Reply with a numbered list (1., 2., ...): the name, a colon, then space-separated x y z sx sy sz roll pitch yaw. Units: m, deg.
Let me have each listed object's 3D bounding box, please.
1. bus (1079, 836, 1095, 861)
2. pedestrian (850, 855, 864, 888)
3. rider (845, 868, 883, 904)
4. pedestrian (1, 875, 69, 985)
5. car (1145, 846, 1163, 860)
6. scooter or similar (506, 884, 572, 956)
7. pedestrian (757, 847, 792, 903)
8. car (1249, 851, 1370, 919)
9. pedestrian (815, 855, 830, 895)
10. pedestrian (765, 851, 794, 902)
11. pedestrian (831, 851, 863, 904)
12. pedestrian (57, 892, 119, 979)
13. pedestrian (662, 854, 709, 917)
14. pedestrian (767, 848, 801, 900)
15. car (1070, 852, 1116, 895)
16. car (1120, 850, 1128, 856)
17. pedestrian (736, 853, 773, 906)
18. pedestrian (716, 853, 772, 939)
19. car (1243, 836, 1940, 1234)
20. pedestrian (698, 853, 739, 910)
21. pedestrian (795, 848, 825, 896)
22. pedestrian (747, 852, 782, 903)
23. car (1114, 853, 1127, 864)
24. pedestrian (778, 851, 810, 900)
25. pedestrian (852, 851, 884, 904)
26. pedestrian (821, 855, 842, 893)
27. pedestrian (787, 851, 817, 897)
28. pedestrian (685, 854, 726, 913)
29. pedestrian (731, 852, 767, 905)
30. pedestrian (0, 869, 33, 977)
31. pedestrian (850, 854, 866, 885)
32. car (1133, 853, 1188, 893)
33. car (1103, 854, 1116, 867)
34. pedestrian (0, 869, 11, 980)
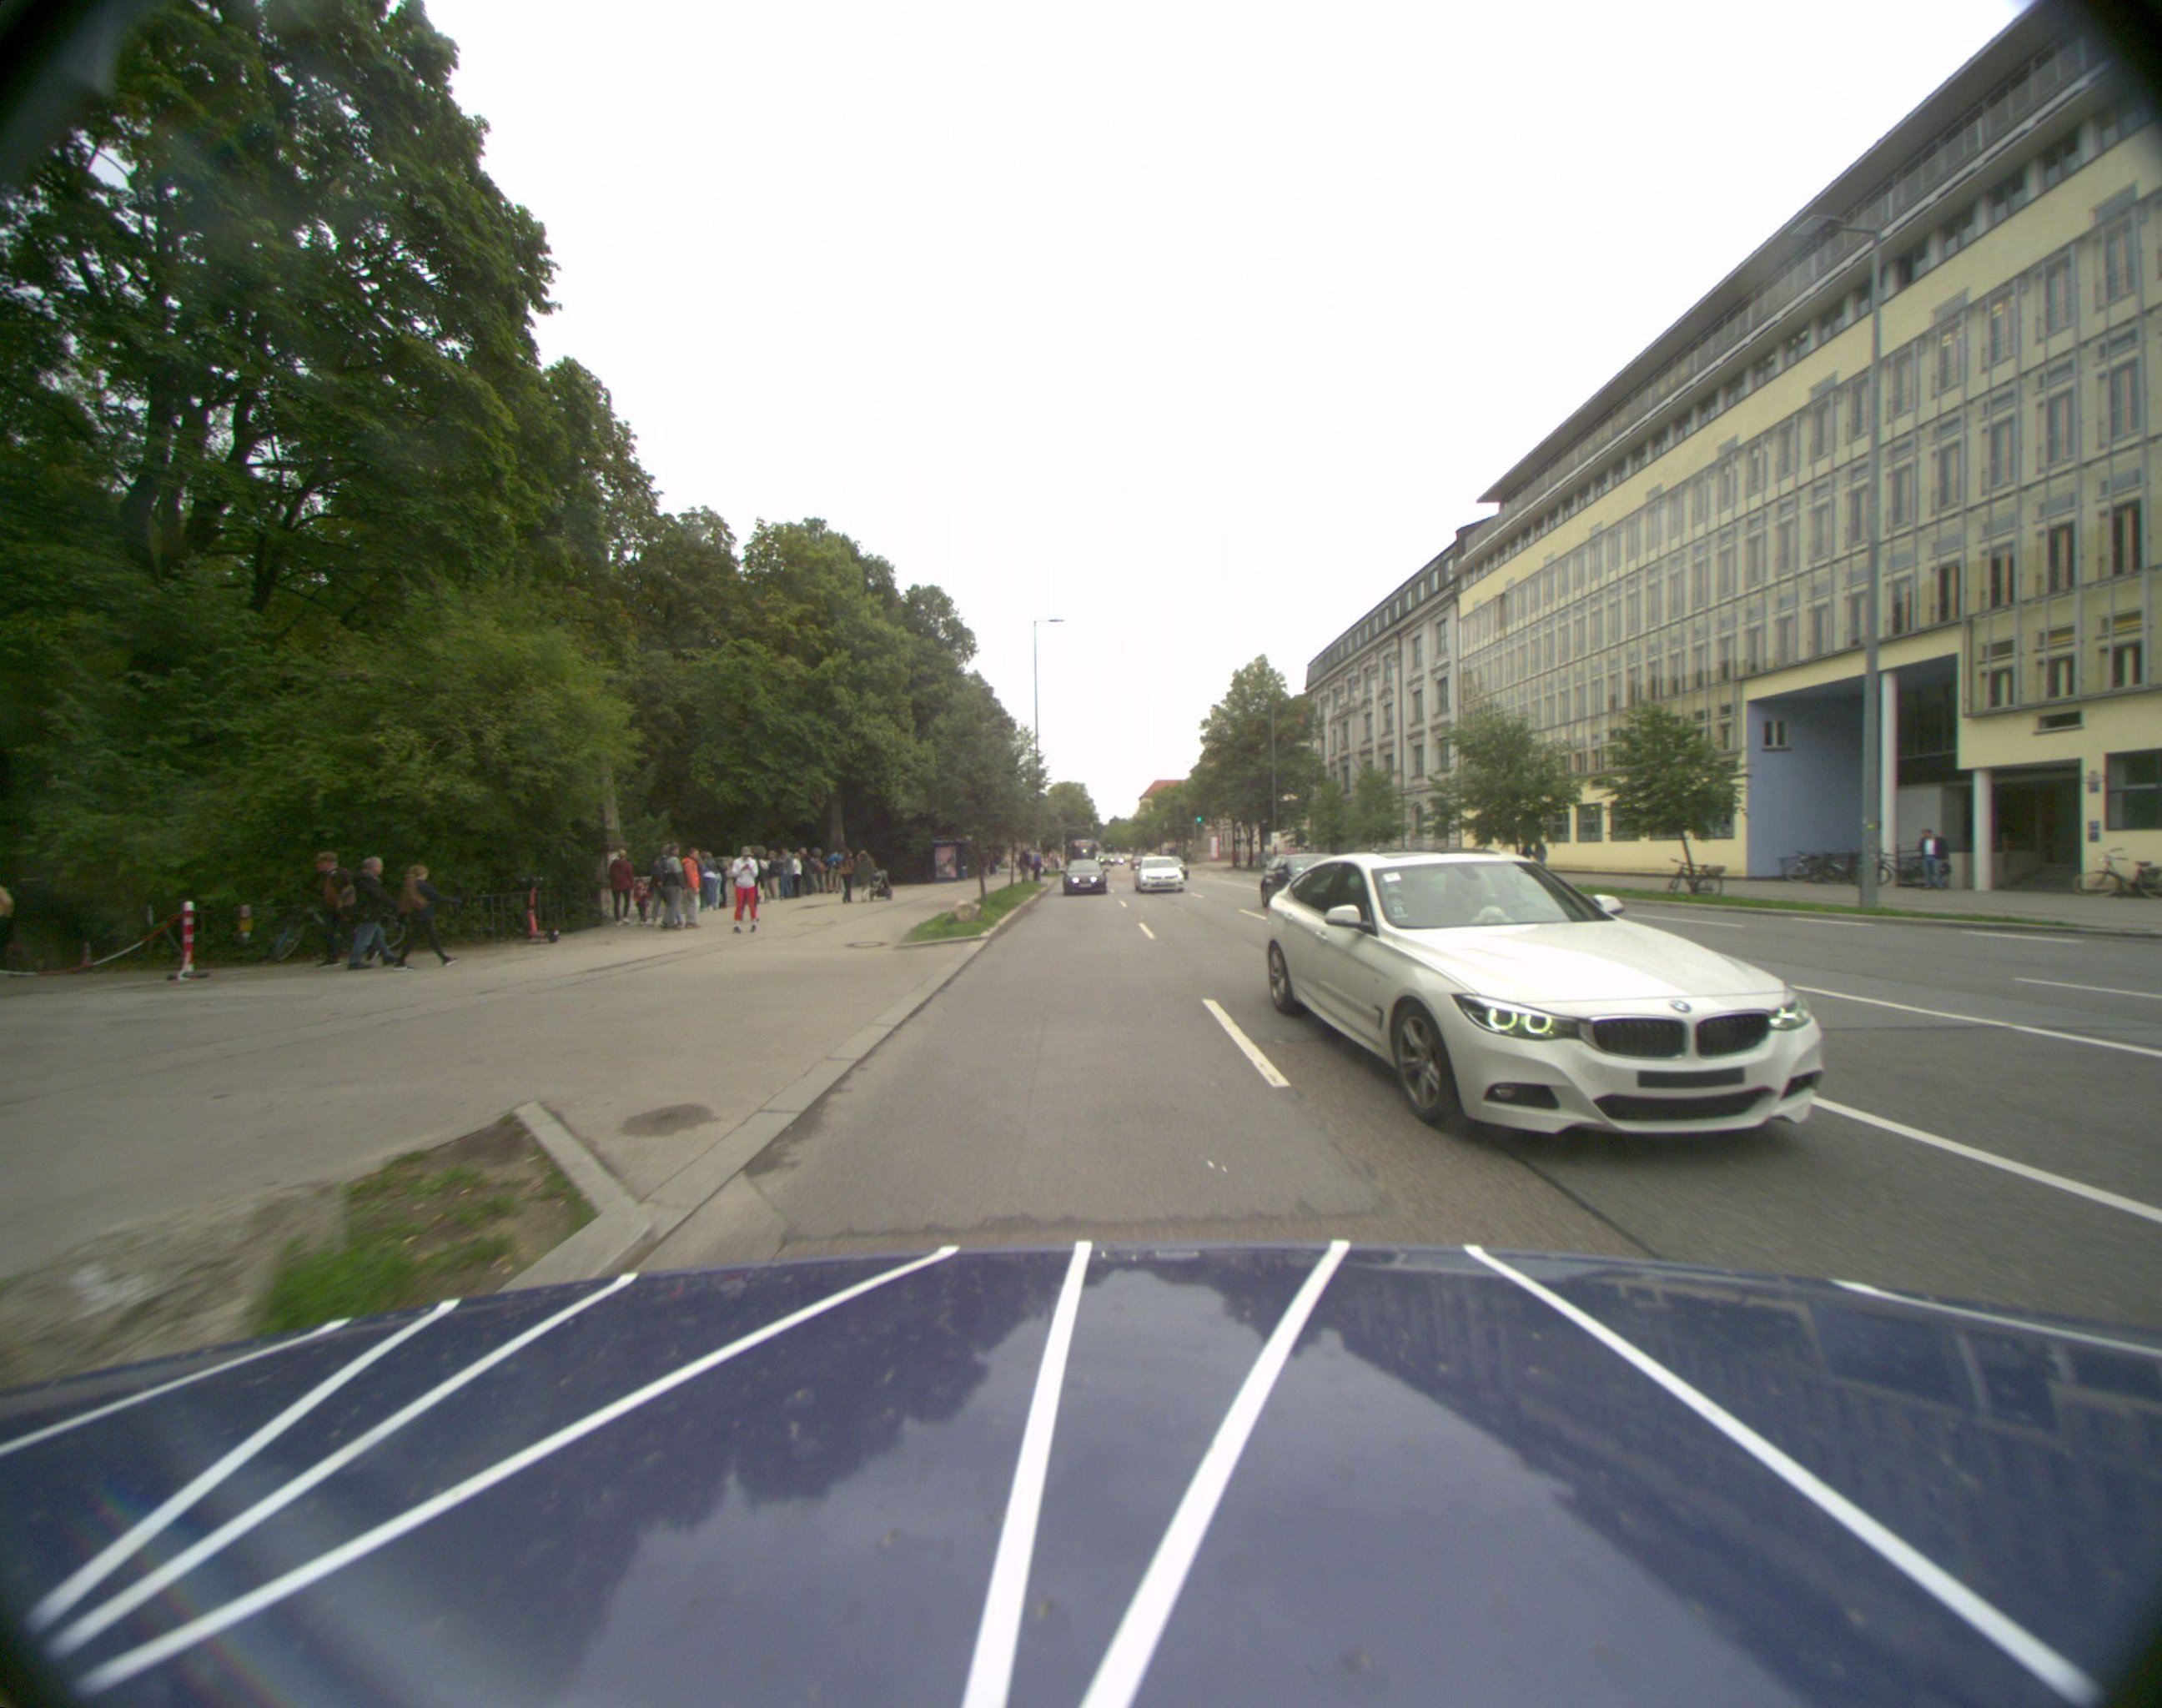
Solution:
1. bus: 0.649 -0.590 81.486 1.638 2.570 6.701 -1 0 1
2. pedestrian: -10.402 0.796 35.247 0.421 1.499 0.442 -2 1 3
3. rider: -7.259 1.055 25.476 0.766 1.106 1.244 -2 1 5
4. pedestrian: -17.236 1.237 12.527 0.407 1.753 0.519 -2 1 22
5. car: 9.366 -0.160 98.035 1.862 1.738 4.629 1 0 1
6. scooter or similar: -10.015 1.198 14.022 1.563 1.249 0.349 -2 1 31
7. pedestrian: -10.834 0.737 26.894 0.814 1.906 0.729 -2 1 3
8. car: 5.624 0.684 19.273 1.696 1.507 4.338 -1 0 -1
9. pedestrian: -10.952 0.885 32.212 0.421 1.694 0.442 -2 1 1
10. pedestrian: -10.191 0.753 25.680 0.593 1.681 0.729 -2 1 3
11. pedestrian: -7.657 0.762 24.871 0.728 1.681 0.648 -2 1 5
12. pedestrian: -17.370 1.416 13.296 0.407 1.465 0.519 -2 1 22
13. pedestrian: -10.967 0.867 21.082 0.814 1.681 0.729 -2 1 3
14. pedestrian: -10.805 0.719 27.662 0.814 1.864 0.729 -2 1 3
15. car: 0.480 0.754 32.098 1.797 1.627 4.274 -1 1 0
16. car: 11.304 -0.244 200.672 1.748 1.586 4.000 1 0 0
17. pedestrian: -10.910 0.834 25.416 0.814 1.729 0.729 -2 1 3
18. pedestrian: -6.794 0.827 15.341 0.728 1.681 0.648 -2 1 6
19. car: 2.647 0.722 5.654 1.797 1.627 5.025 -1 1 0
20. pedestrian: -10.901 0.812 22.857 0.814 1.681 0.729 -1 1 3
21. pedestrian: -10.652 0.707 29.854 0.814 1.841 0.729 -2 1 3
22. pedestrian: -10.890 0.790 26.143 0.814 1.681 0.729 -2 1 3
23. car: 5.899 0.722 113.860 1.638 1.562 3.945 -1 0 1
24. pedestrian: -10.730 0.782 28.403 0.814 1.780 0.729 -2 1 3
25. pedestrian: -6.920 0.758 24.724 0.728 1.681 0.648 -2 1 5
26. pedestrian: -10.870 0.868 33.116 0.637 1.607 0.533 -2 1 3
27. pedestrian: -10.686 0.761 29.128 0.814 1.681 0.673 -2 1 3
28. pedestrian: -10.891 0.842 22.066 0.814 1.681 0.729 0 1 3
29. pedestrian: -10.749 0.794 24.613 0.814 1.681 0.729 0 1 3
30. pedestrian: -17.831 1.138 12.549 0.526 1.753 0.437 -2 1 22
31. pedestrian: -12.795 0.878 43.615 0.636 1.757 0.534 -2 1 32
32. car: 3.180 0.734 31.107 1.797 1.439 4.274 -1 1 0
33. car: 3.681 0.800 98.168 1.638 1.562 3.945 -1 0 1
34. pedestrian: -17.372 1.124 11.931 0.520 1.753 0.569 -2 1 32
